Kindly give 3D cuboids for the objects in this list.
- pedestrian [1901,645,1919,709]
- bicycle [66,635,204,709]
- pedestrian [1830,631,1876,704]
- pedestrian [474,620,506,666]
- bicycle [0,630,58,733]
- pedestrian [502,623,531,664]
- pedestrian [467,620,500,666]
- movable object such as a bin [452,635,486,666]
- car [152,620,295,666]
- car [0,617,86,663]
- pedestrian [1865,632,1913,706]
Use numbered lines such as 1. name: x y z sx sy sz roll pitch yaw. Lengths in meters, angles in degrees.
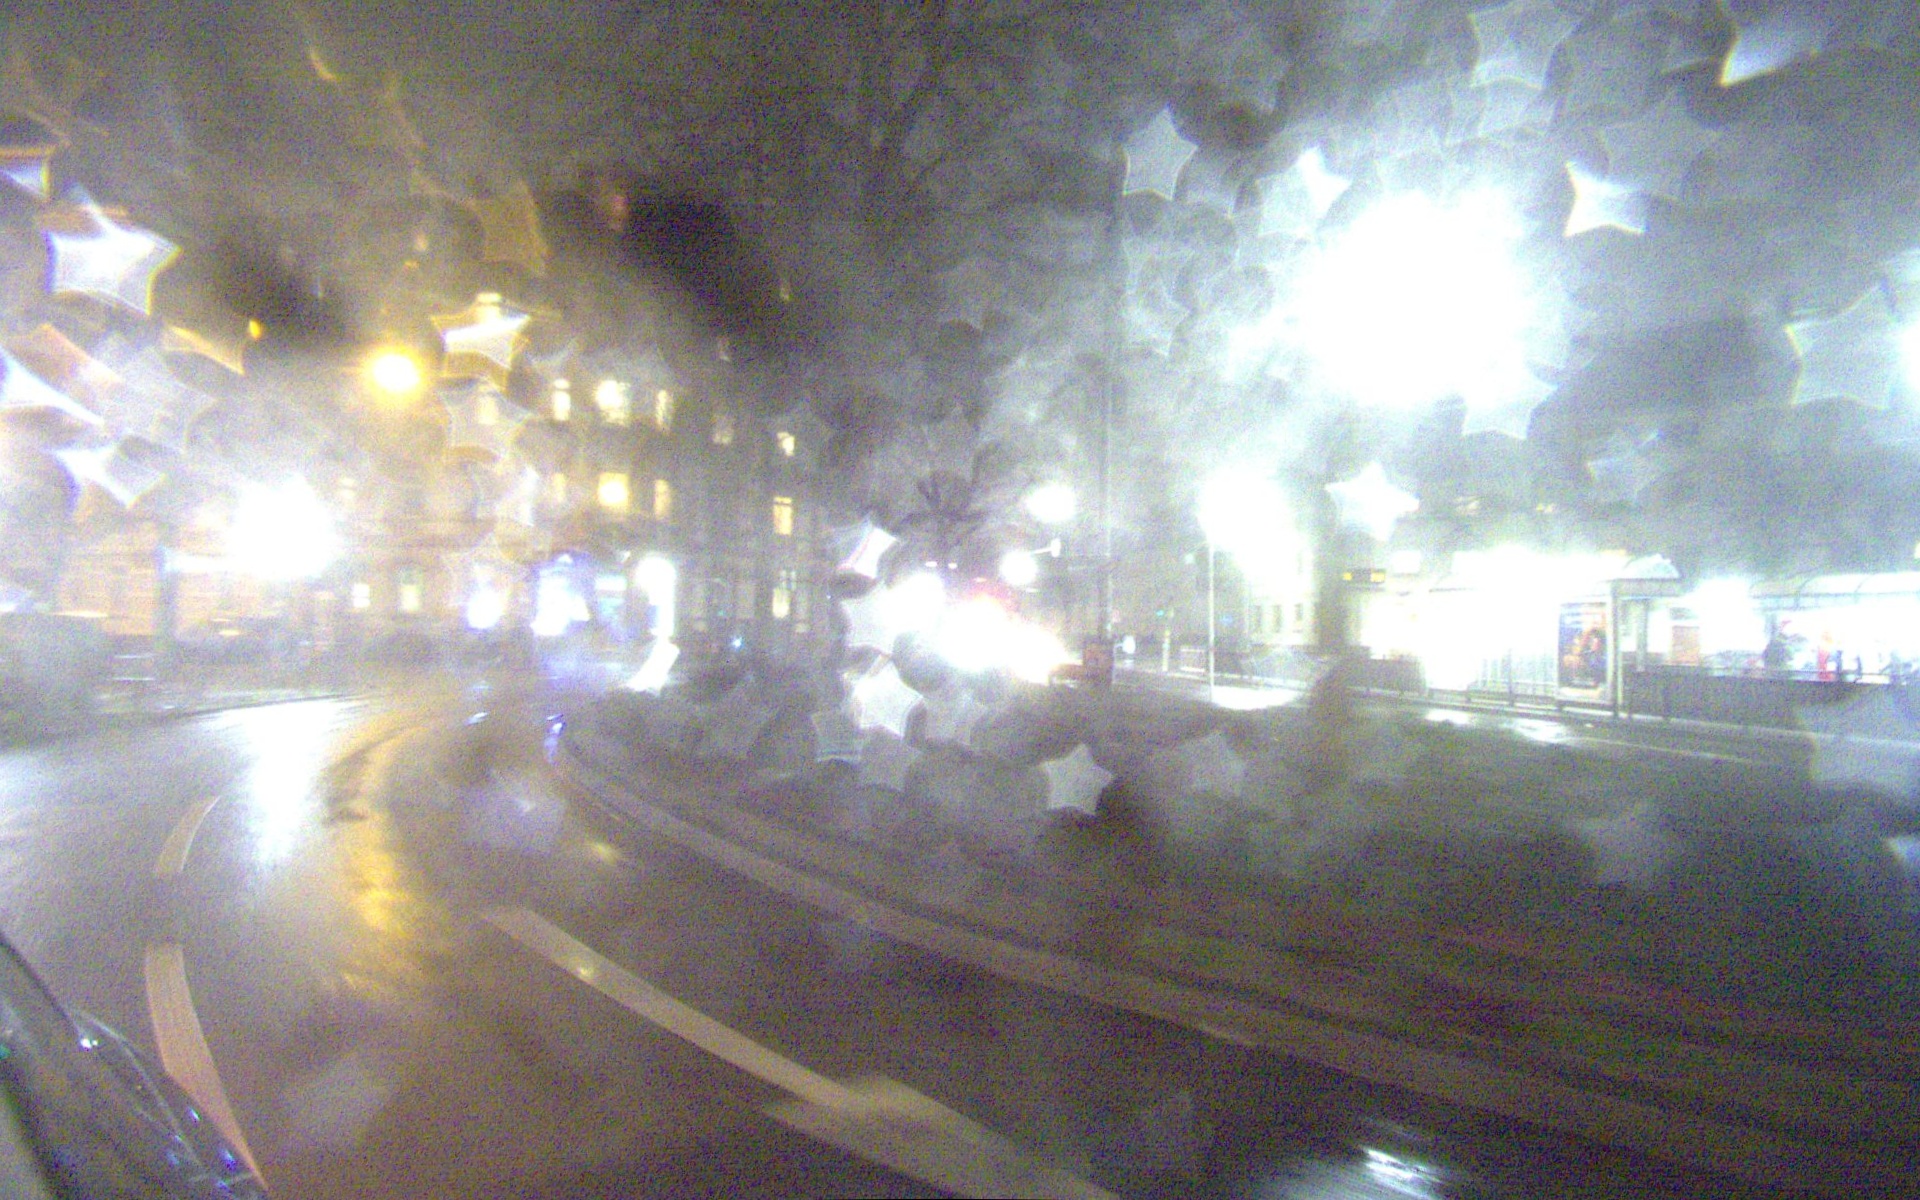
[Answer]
1. pedestrian: 19.731 1.575 20.705 0.623 1.263 0.577 -2 -1 37
2. bicycle: -13.038 1.123 16.044 1.597 1.090 0.567 1 0 -25
3. pedestrian: 19.627 1.477 22.246 0.503 1.559 0.577 -1 -1 -27
4. pedestrian: -17.456 1.591 37.589 0.833 1.650 0.633 -2 -1 6
5. bicycle: -12.296 0.973 12.269 1.842 1.226 0.733 2 -2 -24
6. pedestrian: -16.795 1.639 38.359 0.761 1.505 0.631 -2 -1 15
7. pedestrian: -17.355 1.569 36.902 0.864 1.650 0.633 -2 -1 7
8. movable object such as a bin: -18.282 1.875 37.676 0.912 1.124 0.633 -2 -1 6
9. car: -27.283 1.556 37.530 4.452 1.605 1.881 0 0 14
10. car: -37.380 1.555 40.327 4.247 1.716 1.872 0 0 16
11. pedestrian: 19.906 1.469 21.688 0.471 1.540 0.588 -1 -1 -27
